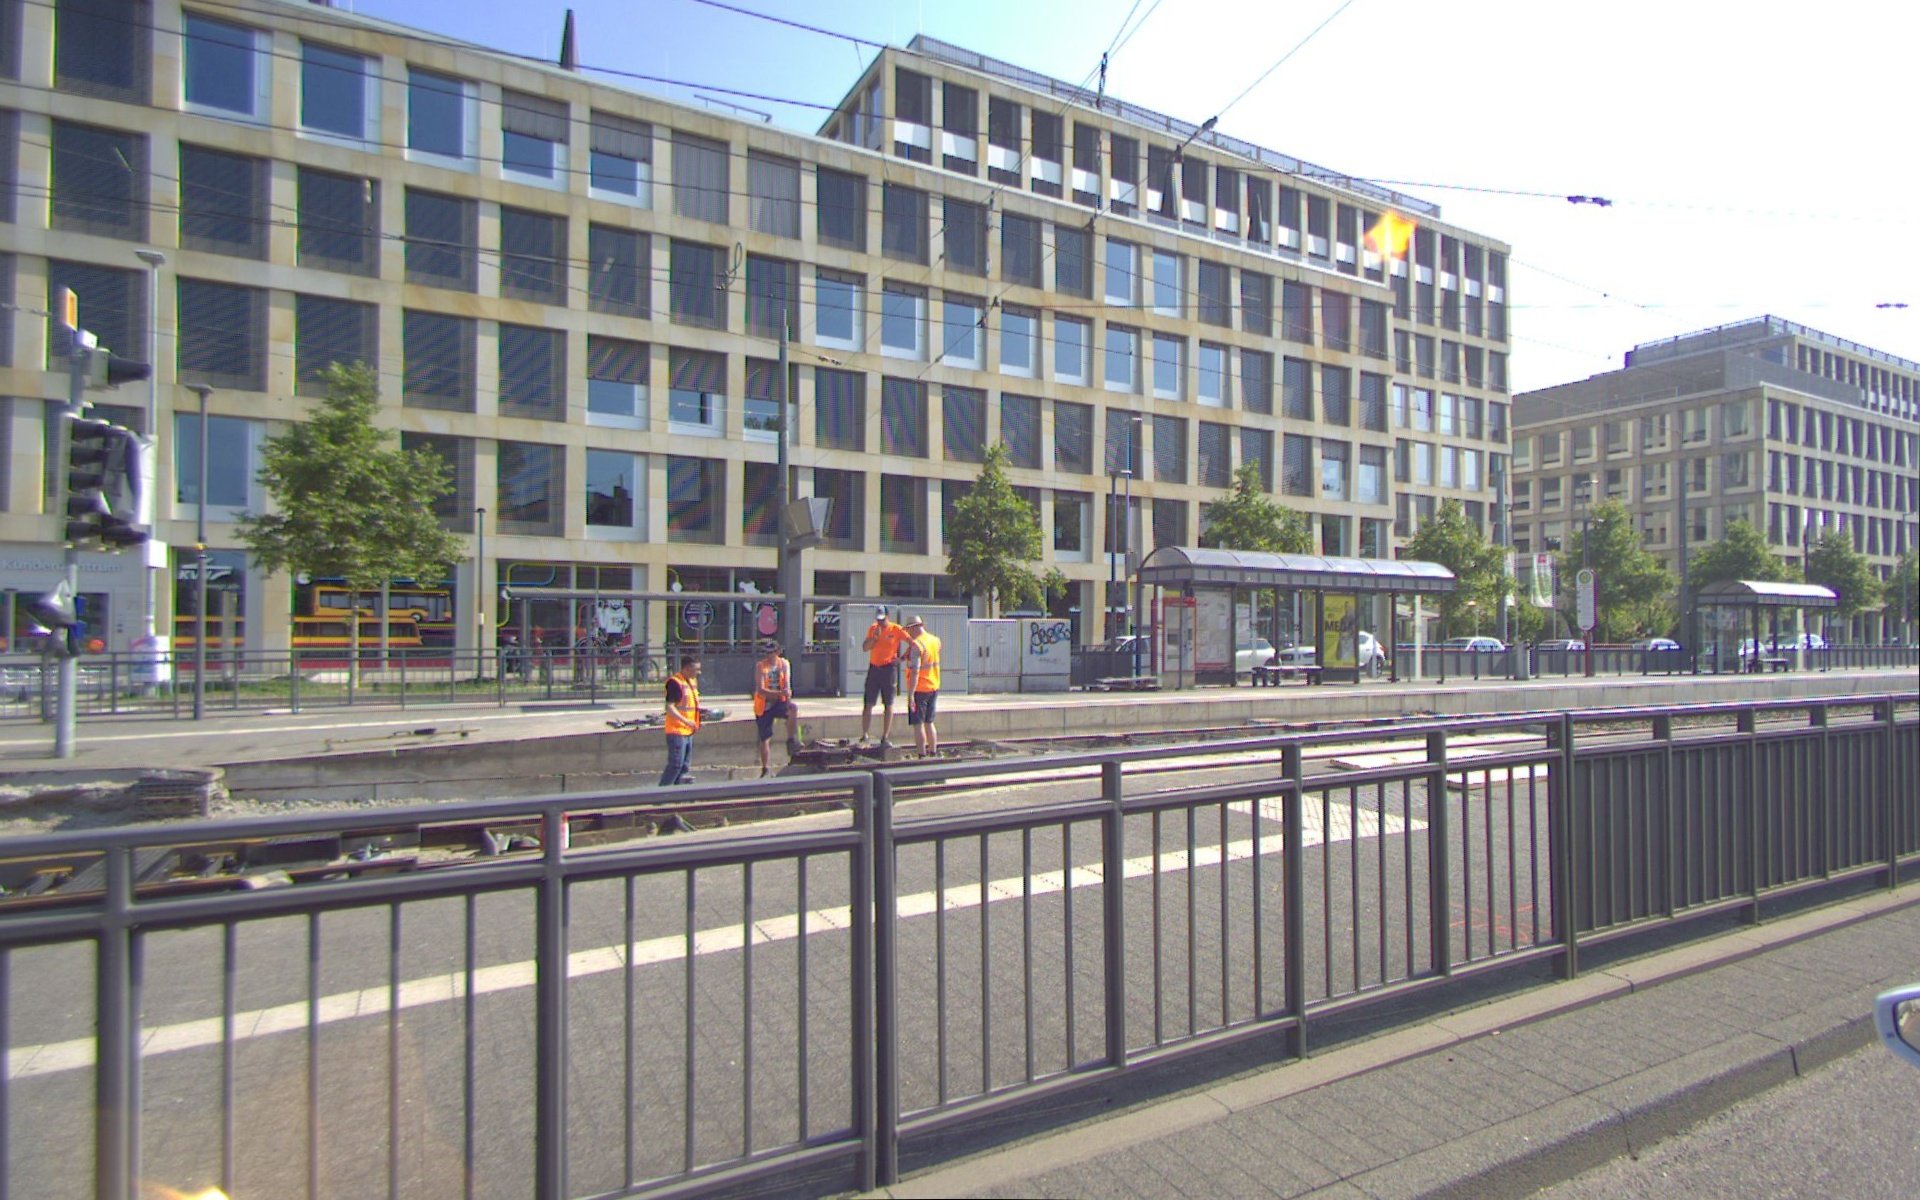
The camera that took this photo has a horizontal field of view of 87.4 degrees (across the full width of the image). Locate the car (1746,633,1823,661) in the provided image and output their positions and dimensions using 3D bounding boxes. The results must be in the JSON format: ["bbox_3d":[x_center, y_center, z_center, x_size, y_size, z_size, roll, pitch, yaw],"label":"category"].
[{"bbox_3d":[42.976,2.431,52.334,4.319,1.426,1.676,1,-2,-30],"label":"car"}]

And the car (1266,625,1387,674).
[{"bbox_3d":[13.008,1.733,35.602,4.271,1.647,1.781,1,-2,-32],"label":"car"}]

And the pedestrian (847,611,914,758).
[{"bbox_3d":[-1.024,1.071,13.032,0.615,1.839,0.640,-1,-2,29],"label":"pedestrian"}]

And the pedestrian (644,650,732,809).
[{"bbox_3d":[-2.996,1.406,11.125,0.756,1.685,0.669,0,-2,5],"label":"pedestrian"}]

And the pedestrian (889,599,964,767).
[{"bbox_3d":[-0.423,0.992,12.315,0.775,1.976,0.724,0,-2,-14],"label":"pedestrian"}]

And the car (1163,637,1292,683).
[{"bbox_3d":[8.809,1.925,33.044,3.953,1.422,1.893,1,-2,-30],"label":"car"}]

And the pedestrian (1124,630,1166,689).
[{"bbox_3d":[5.402,1.729,29.380,0.869,1.698,0.833,1,-2,-28],"label":"pedestrian"}]

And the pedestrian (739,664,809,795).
[{"bbox_3d":[-2.358,1.617,12.752,0.630,1.575,0.624,-1,-2,35],"label":"pedestrian"}]

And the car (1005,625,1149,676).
[{"bbox_3d":[3.496,1.487,29.966,3.953,1.422,1.893,1,-2,-30],"label":"car"}]
